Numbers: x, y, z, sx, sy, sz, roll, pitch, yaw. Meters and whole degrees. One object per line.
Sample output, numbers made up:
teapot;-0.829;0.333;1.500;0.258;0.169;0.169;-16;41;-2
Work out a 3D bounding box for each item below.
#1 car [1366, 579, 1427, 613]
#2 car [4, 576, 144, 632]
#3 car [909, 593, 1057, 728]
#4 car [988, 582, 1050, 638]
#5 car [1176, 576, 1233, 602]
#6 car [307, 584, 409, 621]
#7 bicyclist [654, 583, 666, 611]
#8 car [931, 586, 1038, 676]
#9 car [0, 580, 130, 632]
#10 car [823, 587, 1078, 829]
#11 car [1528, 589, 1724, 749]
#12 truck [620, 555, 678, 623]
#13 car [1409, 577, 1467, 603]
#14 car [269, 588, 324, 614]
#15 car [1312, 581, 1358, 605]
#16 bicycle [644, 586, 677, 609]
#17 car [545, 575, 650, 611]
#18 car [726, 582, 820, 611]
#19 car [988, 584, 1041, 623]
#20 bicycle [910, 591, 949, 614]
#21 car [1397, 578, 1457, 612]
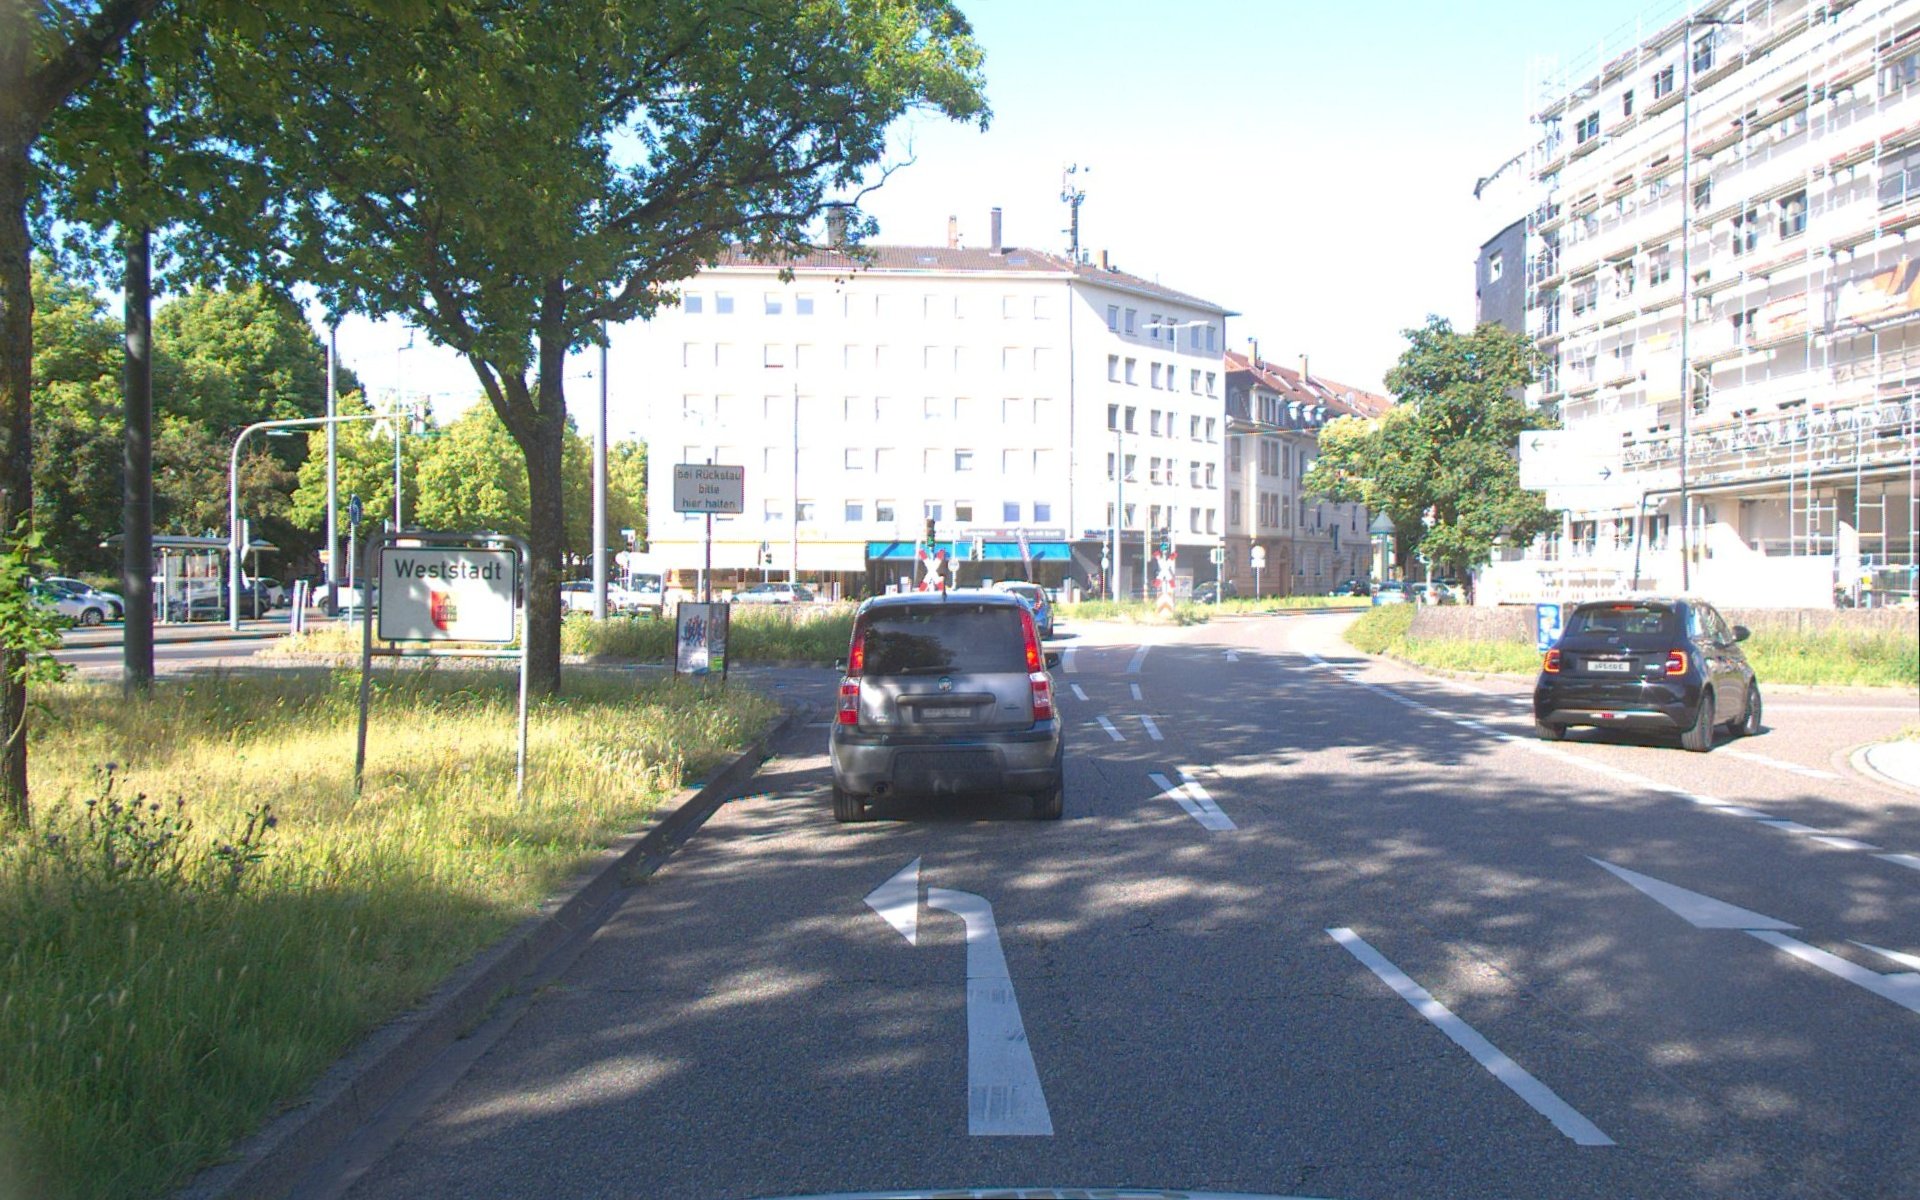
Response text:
car;19.777;-0.197;74.867;1.742;1.468;3.611;1;1;30
car;-30.604;0.092;57.237;1.724;1.747;3.997;4;3;25
car;0.195;0.653;20.033;1.588;1.454;3.686;0;1;-3
car;1.585;0.248;44.854;1.612;1.463;3.397;0;1;2
car;13.596;-0.613;91.734;1.759;1.420;3.714;0;1;33
car;-26.853;0.090;73.879;3.913;1.599;1.996;-1;0;-9
bicyclist;-14.581;-0.147;80.386;0.585;1.380;0.530;0;0;-10
car;0.515;0.515;30.291;1.723;1.512;4.296;0;1;4
car;-29.844;0.177;54.046;1.839;1.570;4.523;4;3;41
car;-0.059;0.675;12.182;1.626;1.536;3.251;0;1;0
car;7.083;0.651;17.882;1.639;1.529;3.564;0;1;17
truck;-11.595;-0.426;61.935;1.753;2.469;4.105;0;0;-5
car;30.547;-0.670;105.833;1.872;1.621;3.985;0;1;-14
car;-35.635;0.049;88.909;1.562;1.316;3.702;0;1;-1
car;24.839;-0.472;109.545;1.759;1.593;3.755;0;1;33
bicycle;-14.557;-0.146;80.409;1.551;1.109;0.530;0;0;-11
car;-15.587;-0.307;71.042;4.301;1.474;1.667;0;0;25
car;-8.498;-0.178;75.150;3.918;1.264;1.994;1;1;34
car;1.827;0.127;56.618;1.656;1.275;3.625;0;0;-1
bicycle;-1.346;0.107;72.689;0.777;0.968;1.831;2;0;-37
car;22.348;-0.260;79.074;1.786;1.534;3.991;0;1;31
